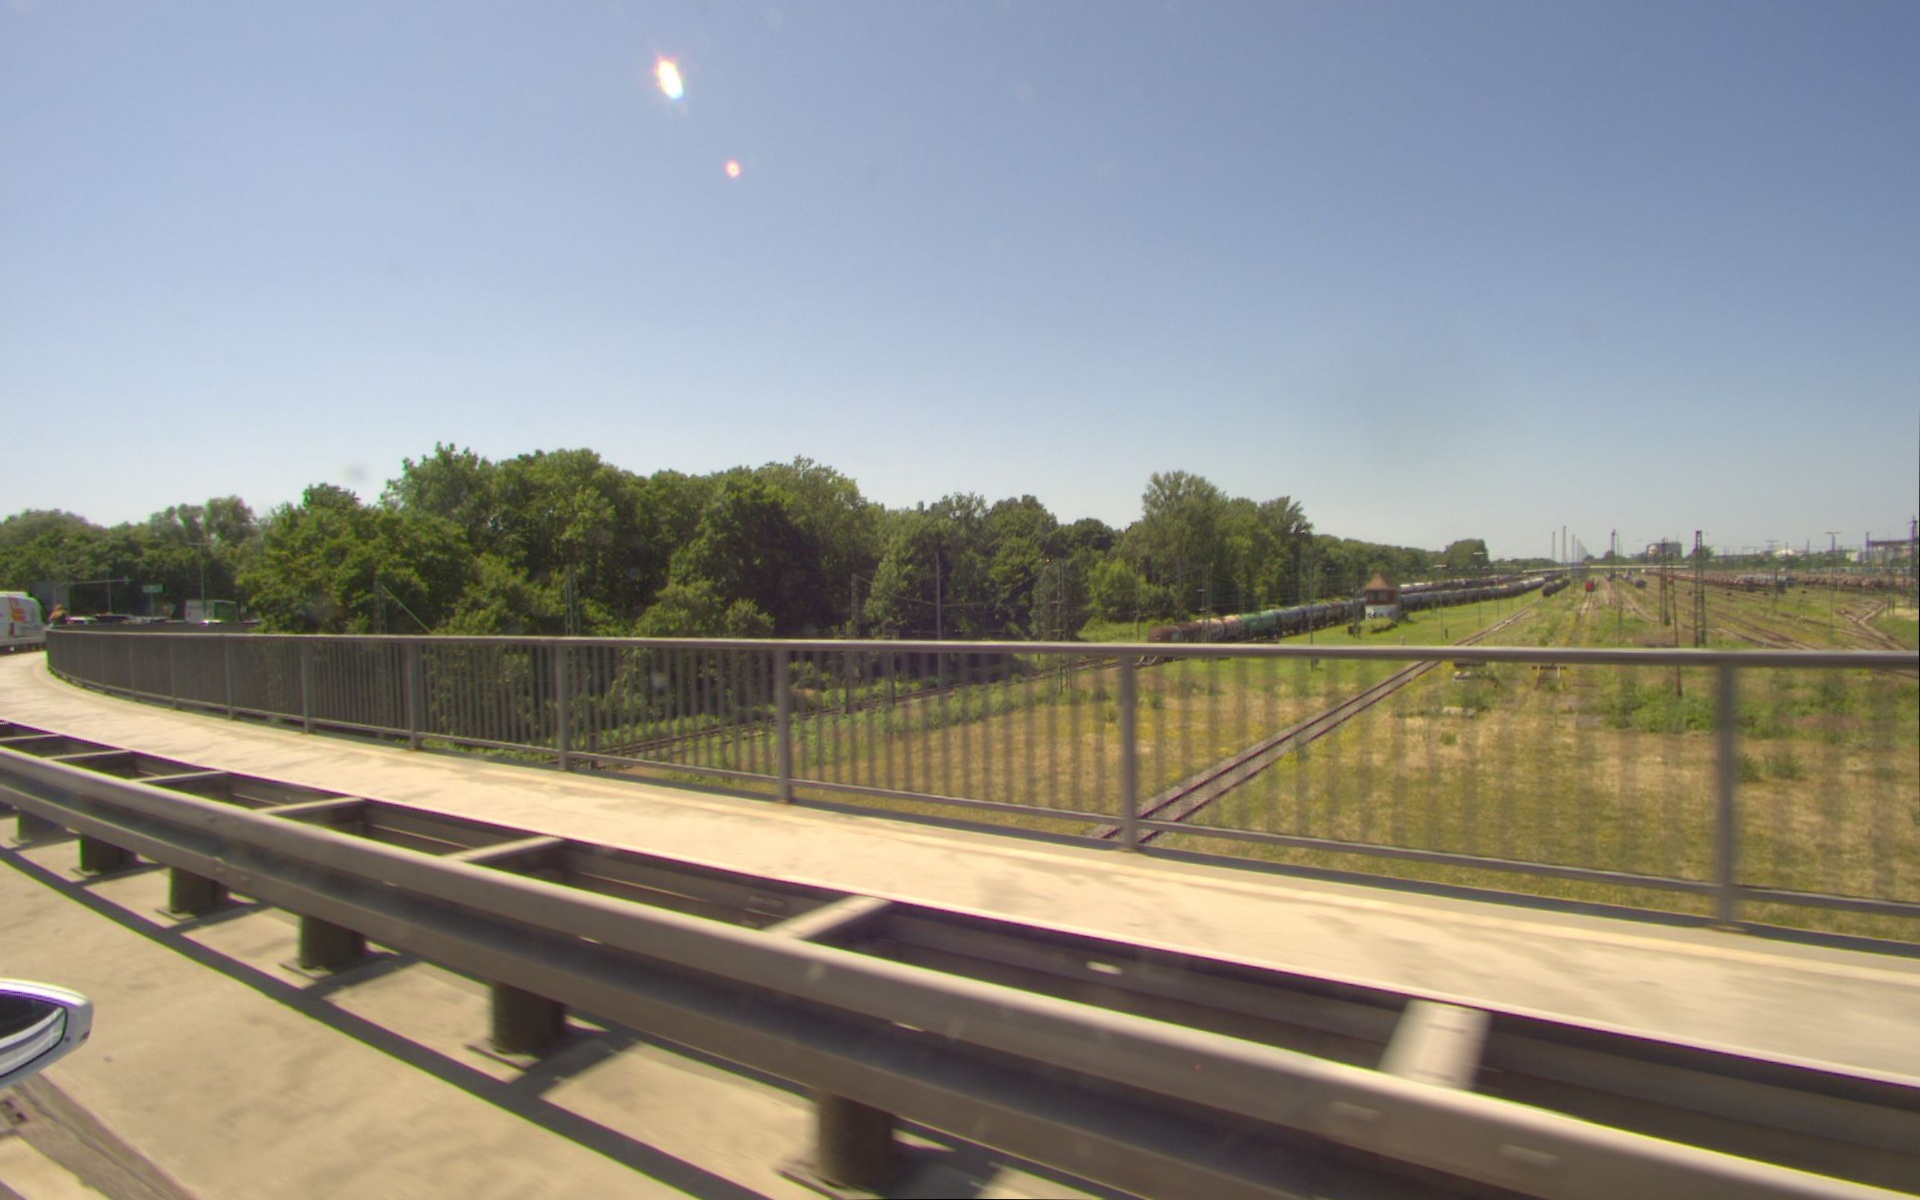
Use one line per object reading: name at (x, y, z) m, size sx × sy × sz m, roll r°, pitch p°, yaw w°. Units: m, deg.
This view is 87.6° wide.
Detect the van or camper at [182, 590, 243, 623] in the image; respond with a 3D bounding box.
van or camper at (-65.327, 0.646, 87.621) m, size 2.448 × 2.318 × 4.959 m, roll 5°, pitch -6°, yaw -15°

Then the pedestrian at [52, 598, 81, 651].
pedestrian at (-33.939, 0.947, 38.039) m, size 0.730 × 1.993 × 0.729 m, roll 0°, pitch -1°, yaw -36°

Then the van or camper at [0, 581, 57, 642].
van or camper at (-45.295, 0.531, 47.628) m, size 2.178 × 2.747 × 5.895 m, roll 0°, pitch 0°, yaw -29°

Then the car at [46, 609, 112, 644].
car at (-50.069, 1.511, 56.996) m, size 1.866 × 1.873 × 3.983 m, roll 0°, pitch -2°, yaw -27°

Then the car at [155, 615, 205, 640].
car at (-58.143, 2.054, 74.667) m, size 1.863 × 1.873 × 3.990 m, roll 0°, pitch -1°, yaw -21°
